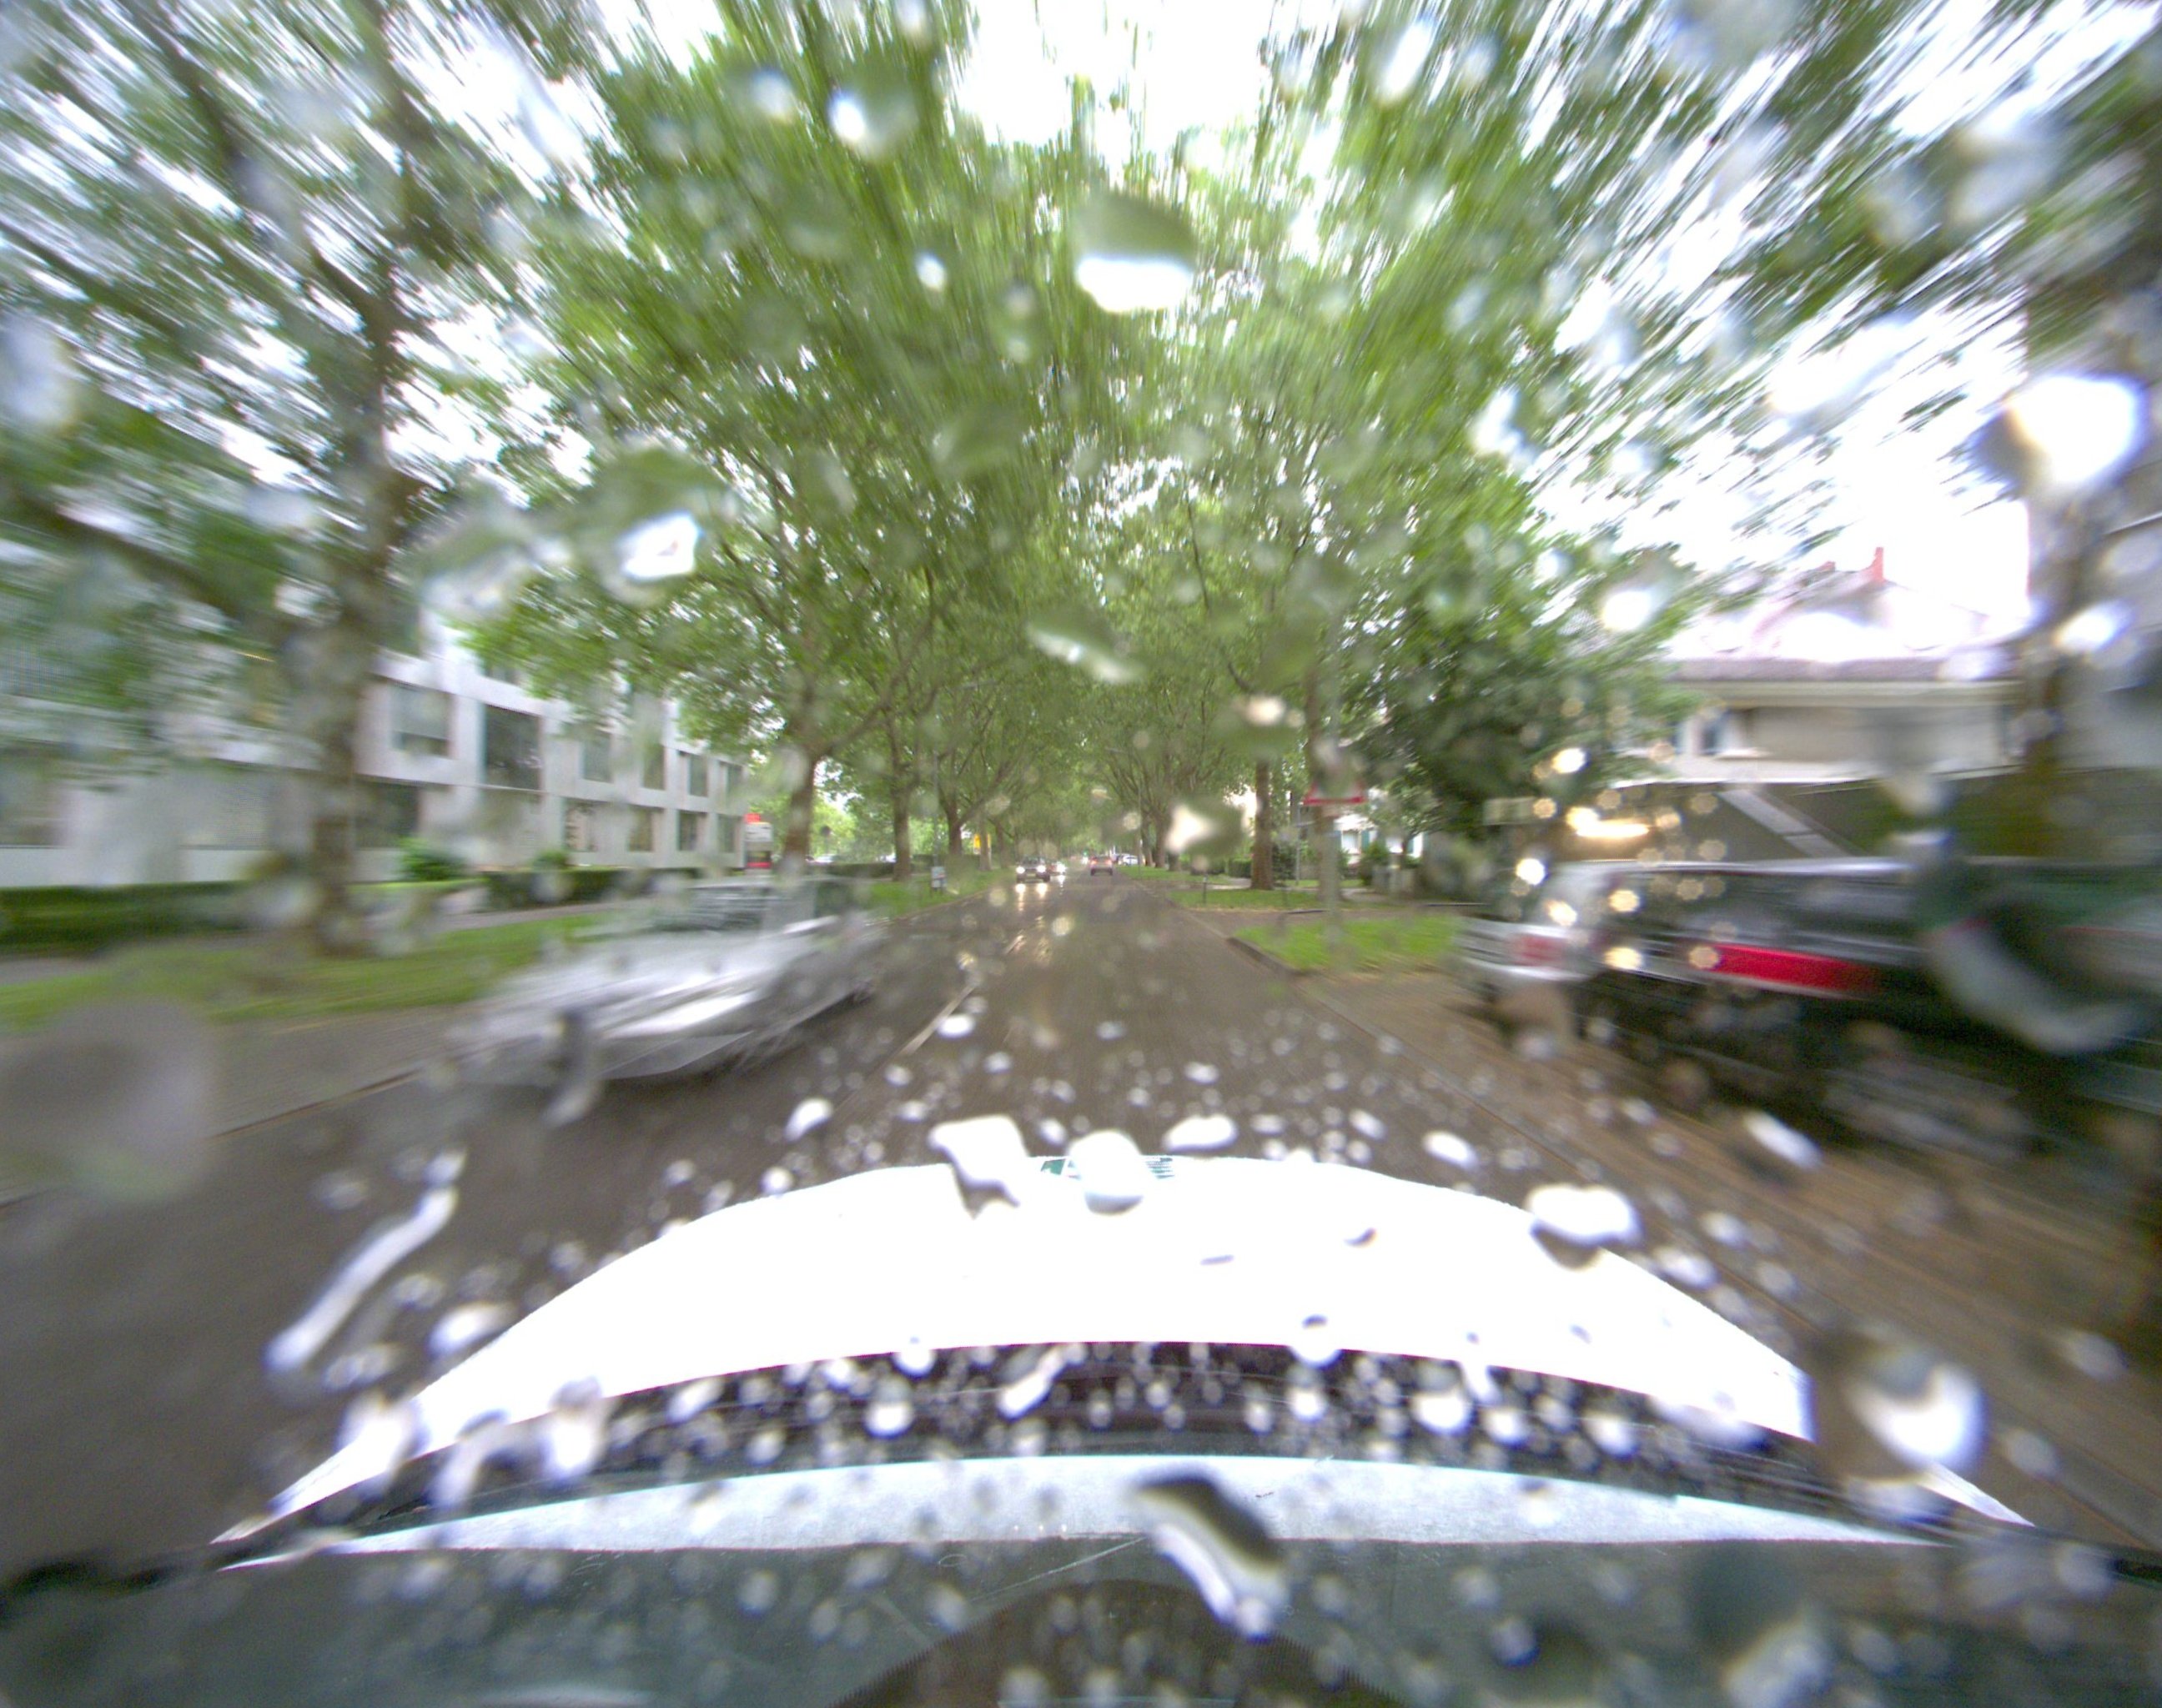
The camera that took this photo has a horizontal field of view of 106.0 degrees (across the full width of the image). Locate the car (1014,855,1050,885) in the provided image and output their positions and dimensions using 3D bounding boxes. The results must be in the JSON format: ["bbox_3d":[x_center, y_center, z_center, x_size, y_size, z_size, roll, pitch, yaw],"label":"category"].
[{"bbox_3d":[-2.956,0.925,49.950,1.803,1.684,4.448,-2,0,1],"label":"car"}]

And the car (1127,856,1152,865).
[{"bbox_3d":[8.495,0.927,118.710,3.537,1.155,1.710,-2,0,-2],"label":"car"}]

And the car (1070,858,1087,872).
[{"bbox_3d":[-0.220,1.170,89.163,1.700,1.411,3.645,-2,0,1],"label":"car"}]

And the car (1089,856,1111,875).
[{"bbox_3d":[1.573,0.902,66.772,1.700,1.411,3.645,-2,0,1],"label":"car"}]

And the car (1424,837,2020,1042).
[{"bbox_3d":[5.386,0.675,7.251,3.972,1.578,1.679,-1,0,1],"label":"car"}]

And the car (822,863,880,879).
[{"bbox_3d":[-18.173,1.322,64.446,3.973,1.134,2.000,1,0,0],"label":"car"}]

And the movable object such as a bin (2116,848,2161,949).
[{"bbox_3d":[14.428,0.573,10.417,0.899,1.310,1.174,-1,0,2],"label":"movable object such as a bin"}]

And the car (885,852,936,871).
[{"bbox_3d":[-14.882,0.664,71.255,3.972,1.623,2.001,0,0,1],"label":"car"}]

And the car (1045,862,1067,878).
[{"bbox_3d":[-2.130,1.347,70.214,1.700,1.251,3.645,-2,0,1],"label":"car"}]

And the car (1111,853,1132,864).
[{"bbox_3d":[7.281,0.840,146.579,3.536,1.841,1.711,-2,0,-1],"label":"car"}]

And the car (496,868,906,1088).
[{"bbox_3d":[-3.094,0.889,7.848,1.672,1.388,4.551,-1,0,2],"label":"car"}]

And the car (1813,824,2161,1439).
[{"bbox_3d":[4.693,0.662,2.008,4.085,1.513,1.865,-1,0,1],"label":"car"}]

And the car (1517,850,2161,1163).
[{"bbox_3d":[4.918,0.713,4.638,3.972,1.438,1.679,-1,0,1],"label":"car"}]
